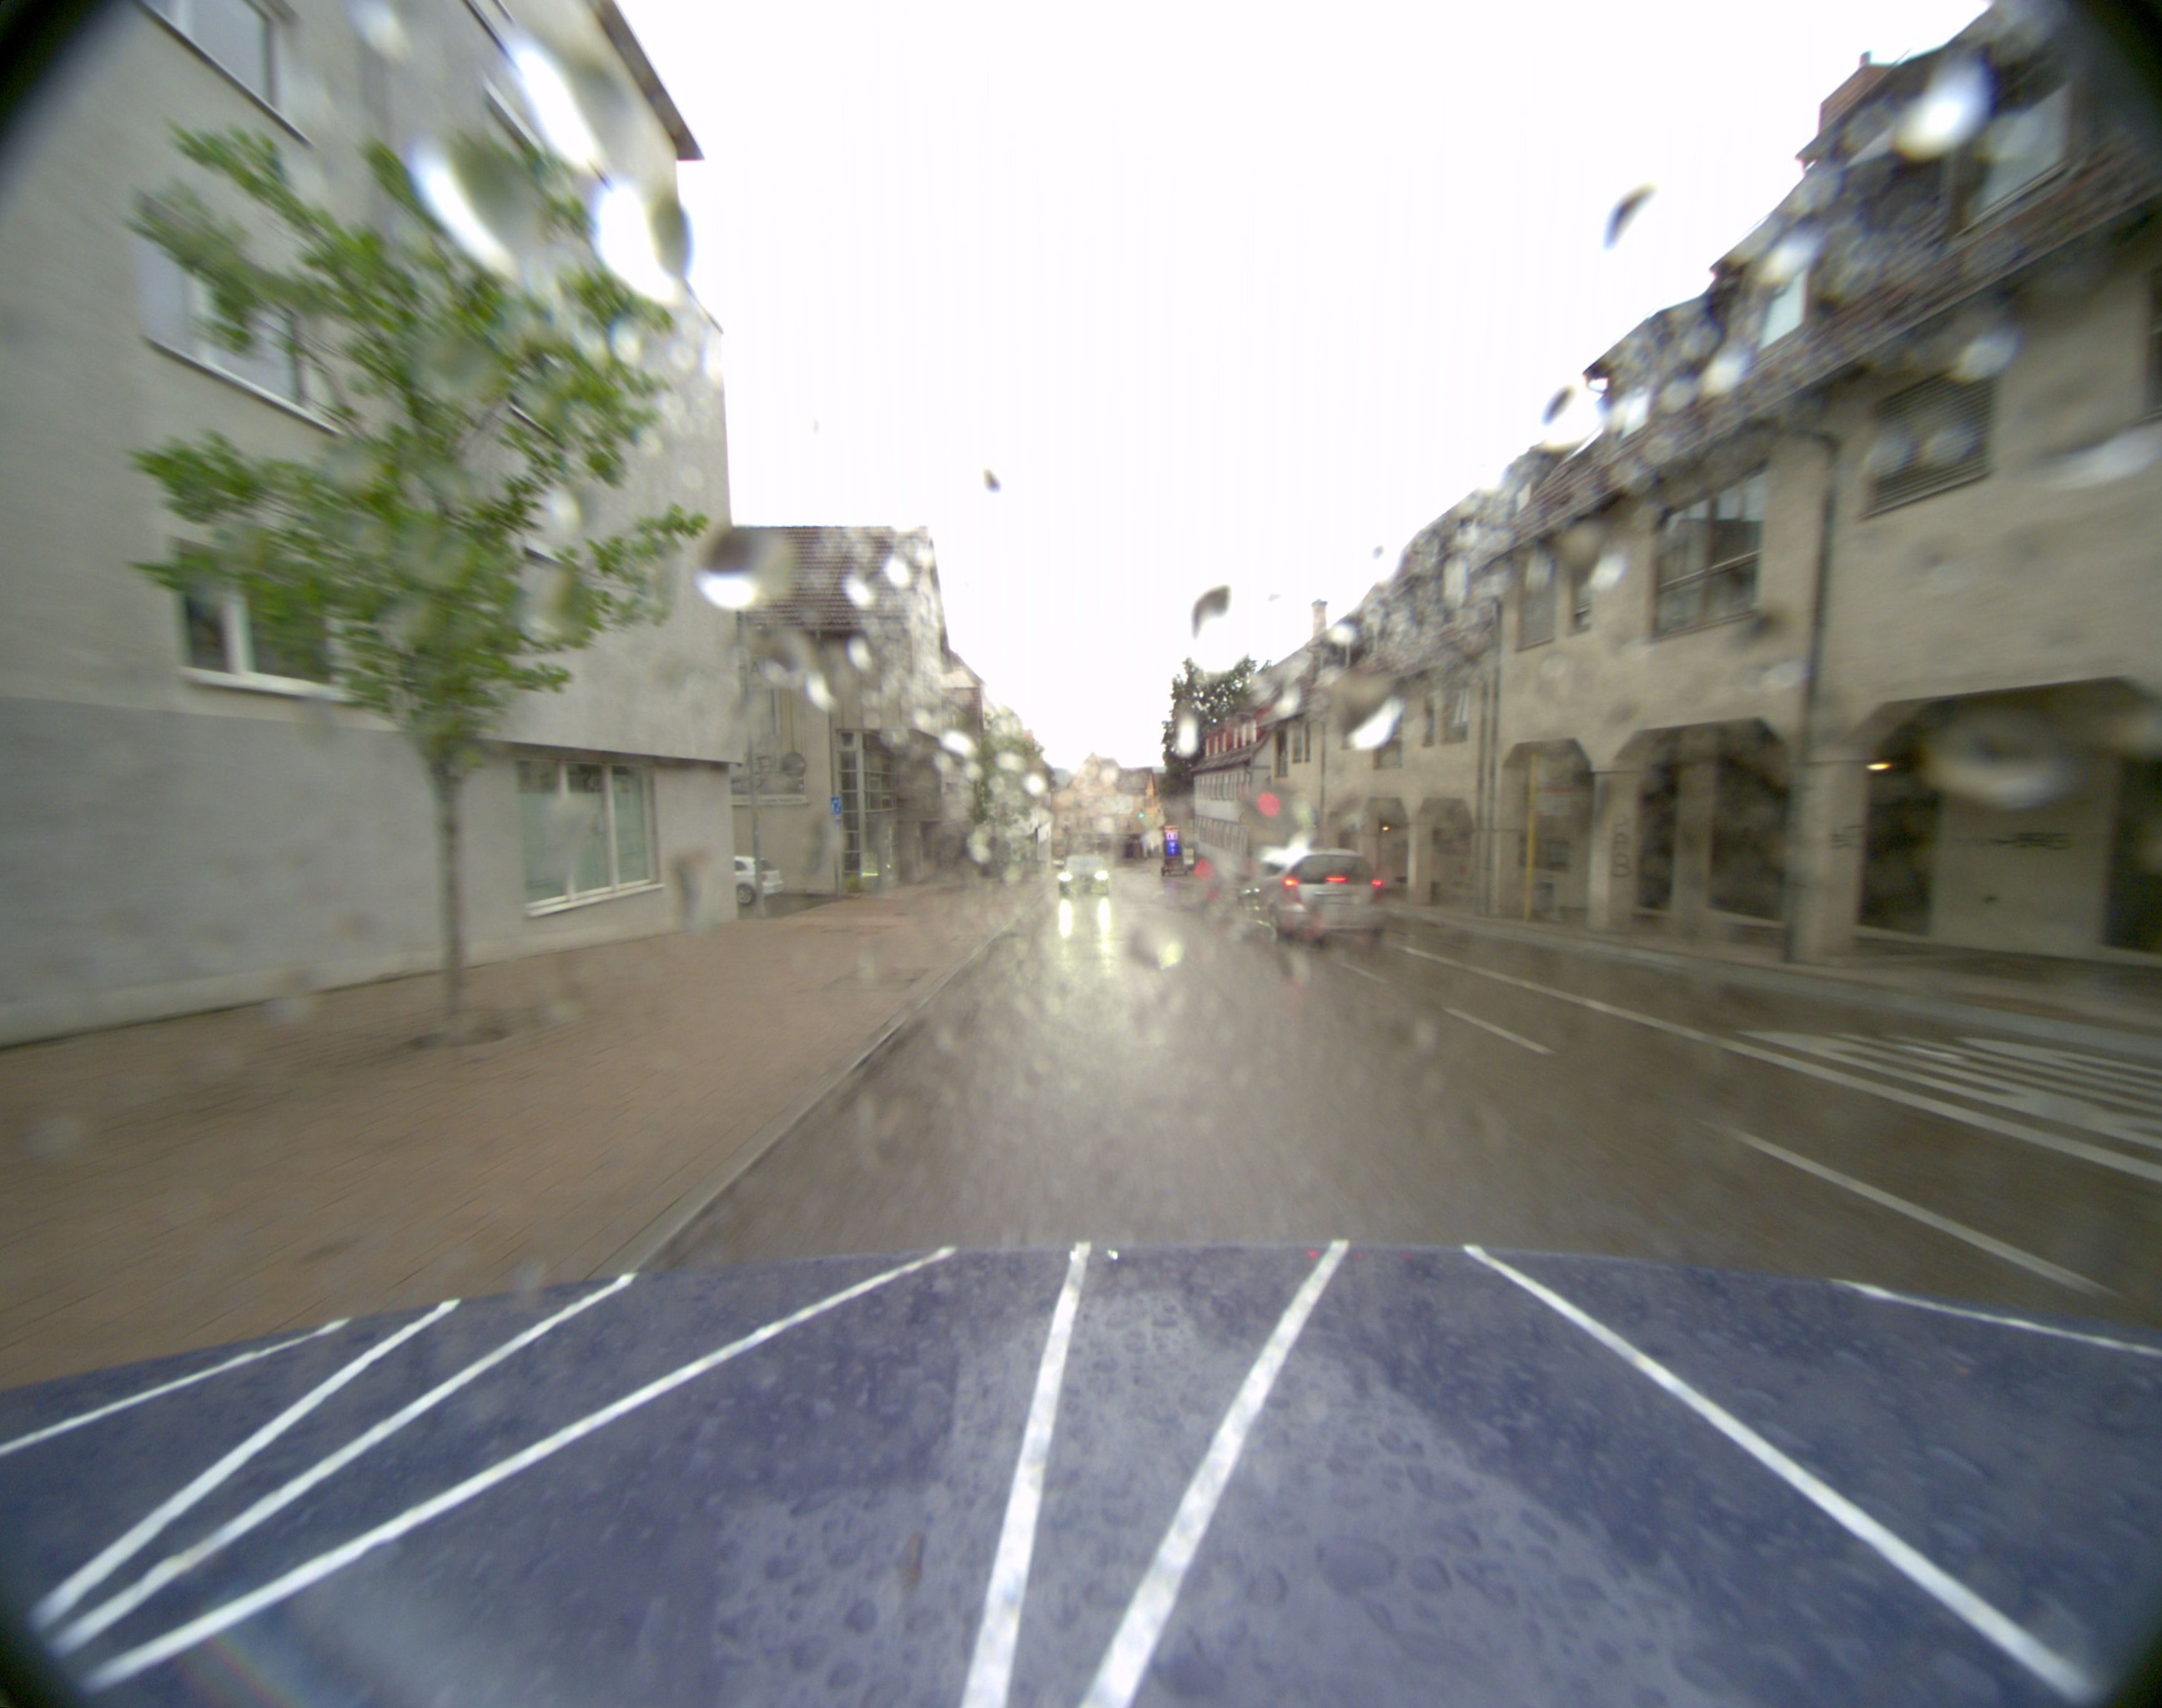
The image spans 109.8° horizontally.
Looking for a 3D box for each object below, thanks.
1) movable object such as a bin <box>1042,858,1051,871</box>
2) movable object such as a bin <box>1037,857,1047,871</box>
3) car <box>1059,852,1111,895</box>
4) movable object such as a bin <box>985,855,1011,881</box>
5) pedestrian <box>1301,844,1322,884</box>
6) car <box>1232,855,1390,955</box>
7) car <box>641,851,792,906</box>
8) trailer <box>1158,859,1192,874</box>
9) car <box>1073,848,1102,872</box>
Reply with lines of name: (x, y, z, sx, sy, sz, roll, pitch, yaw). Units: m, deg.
movable object such as a bin: (-2.666, 0.825, 58.755, 0.596, 1.022, 0.476, 2, 1, 2)
movable object such as a bin: (-2.950, 0.747, 57.571, 0.571, 1.022, 0.467, 1, 1, -40)
car: (0.200, 0.728, 30.905, 1.967, 1.549, 4.622, -1, 0, 1)
movable object such as a bin: (-4.428, 0.736, 40.662, 1.237, 1.327, 1.172, 1, 0, 2)
pedestrian: (10.171, 0.438, 33.522, 0.690, 1.730, 0.735, -3, 1, 3)
car: (3.925, 0.787, 13.558, 1.681, 1.501, 3.588, -1, 1, -1)
car: (-11.139, 0.719, 23.377, 3.772, 1.446, 1.743, 2, 2, -1)
trailer: (6.623, 0.869, 53.951, 1.998, 0.900, 4.477, -2, 0, 3)
car: (0.519, 0.426, 54.991, 1.967, 1.598, 4.384, -1, 0, 2)
